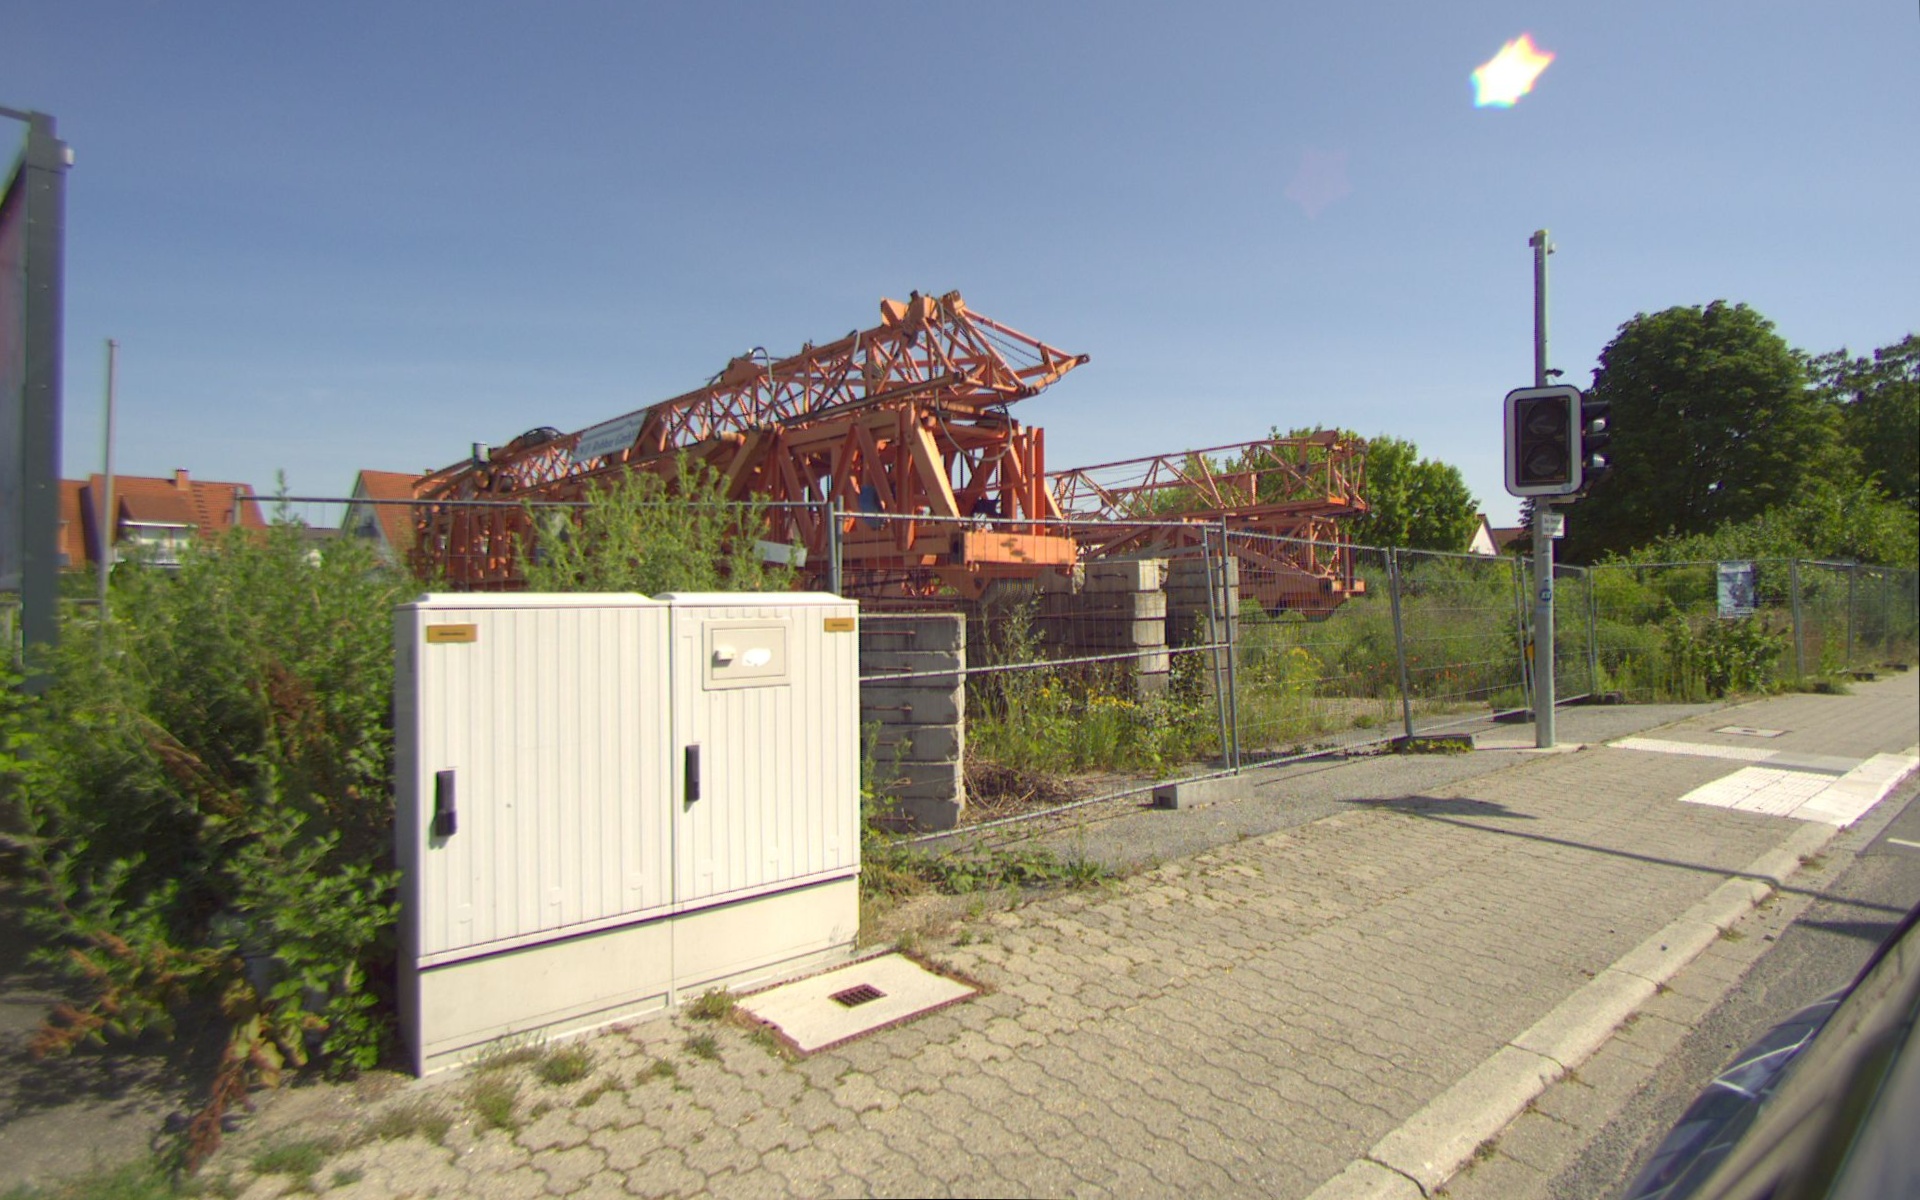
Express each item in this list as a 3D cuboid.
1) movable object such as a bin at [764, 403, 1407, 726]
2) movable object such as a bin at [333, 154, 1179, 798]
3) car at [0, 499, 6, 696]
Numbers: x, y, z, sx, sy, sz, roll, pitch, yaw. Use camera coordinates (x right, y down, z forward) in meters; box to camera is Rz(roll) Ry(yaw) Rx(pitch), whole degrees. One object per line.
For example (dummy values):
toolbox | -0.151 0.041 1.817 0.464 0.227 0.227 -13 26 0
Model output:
movable object such as a bin | 1.144 -0.518 19.004 2.815 4.218 13.265 0 0 -43
movable object such as a bin | -4.697 -0.853 13.192 2.727 4.069 16.065 0 0 -43
car | -6.226 0.359 3.372 1.803 1.707 4.301 2 0 42
